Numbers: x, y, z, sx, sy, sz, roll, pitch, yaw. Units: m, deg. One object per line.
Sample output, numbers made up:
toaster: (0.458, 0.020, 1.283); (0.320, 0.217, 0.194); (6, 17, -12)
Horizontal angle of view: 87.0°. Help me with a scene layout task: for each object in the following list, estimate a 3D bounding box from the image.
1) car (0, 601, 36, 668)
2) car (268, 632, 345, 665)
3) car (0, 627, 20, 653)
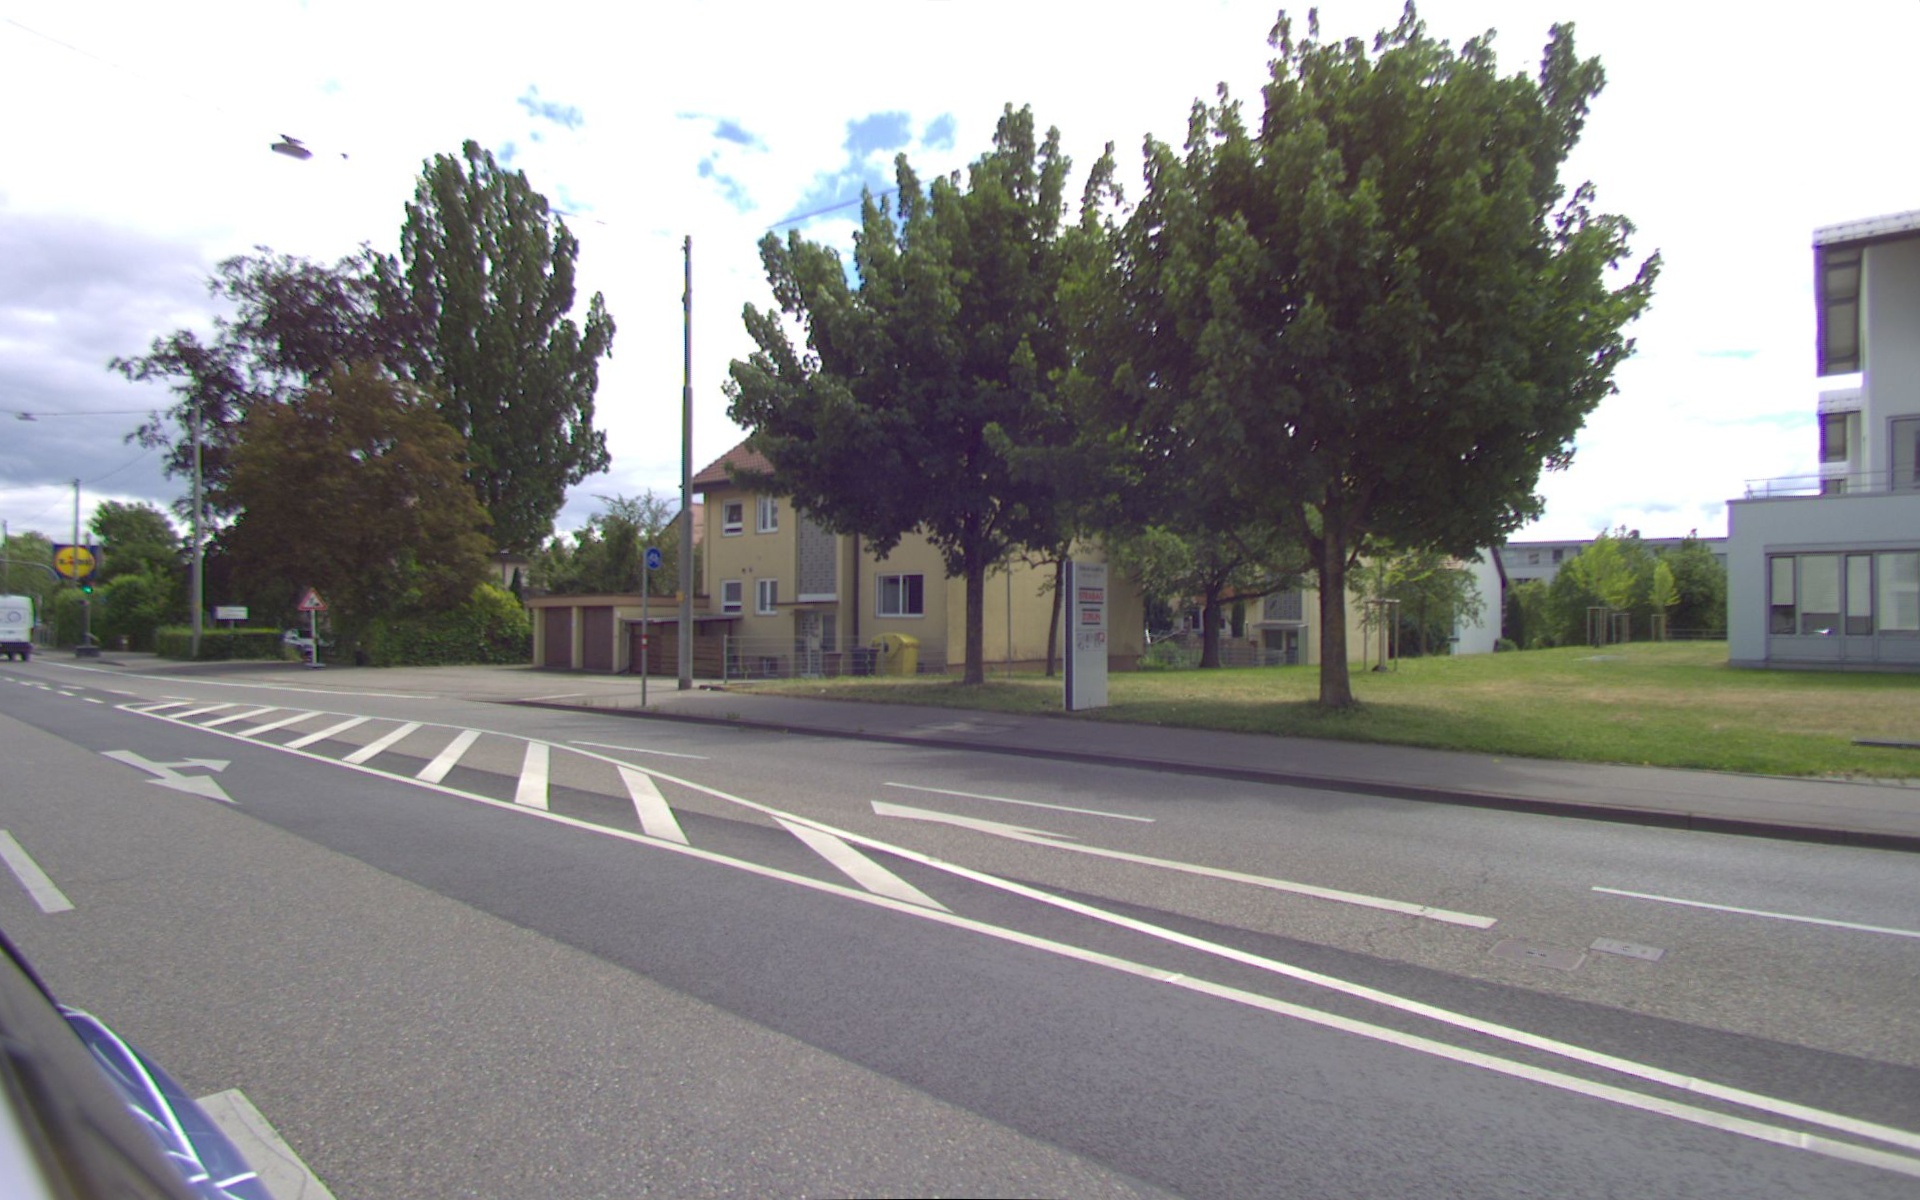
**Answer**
car: (-42.783, 1.515, 44.586); (6.142, 2.841, 2.122); (-2, -4, 39)
car: (-29.420, 2.177, 45.546); (3.515, 1.399, 1.646); (-1, -4, 35)
car: (-69.670, 2.939, 72.096); (1.969, 1.797, 4.005); (-1, 1, -6)
